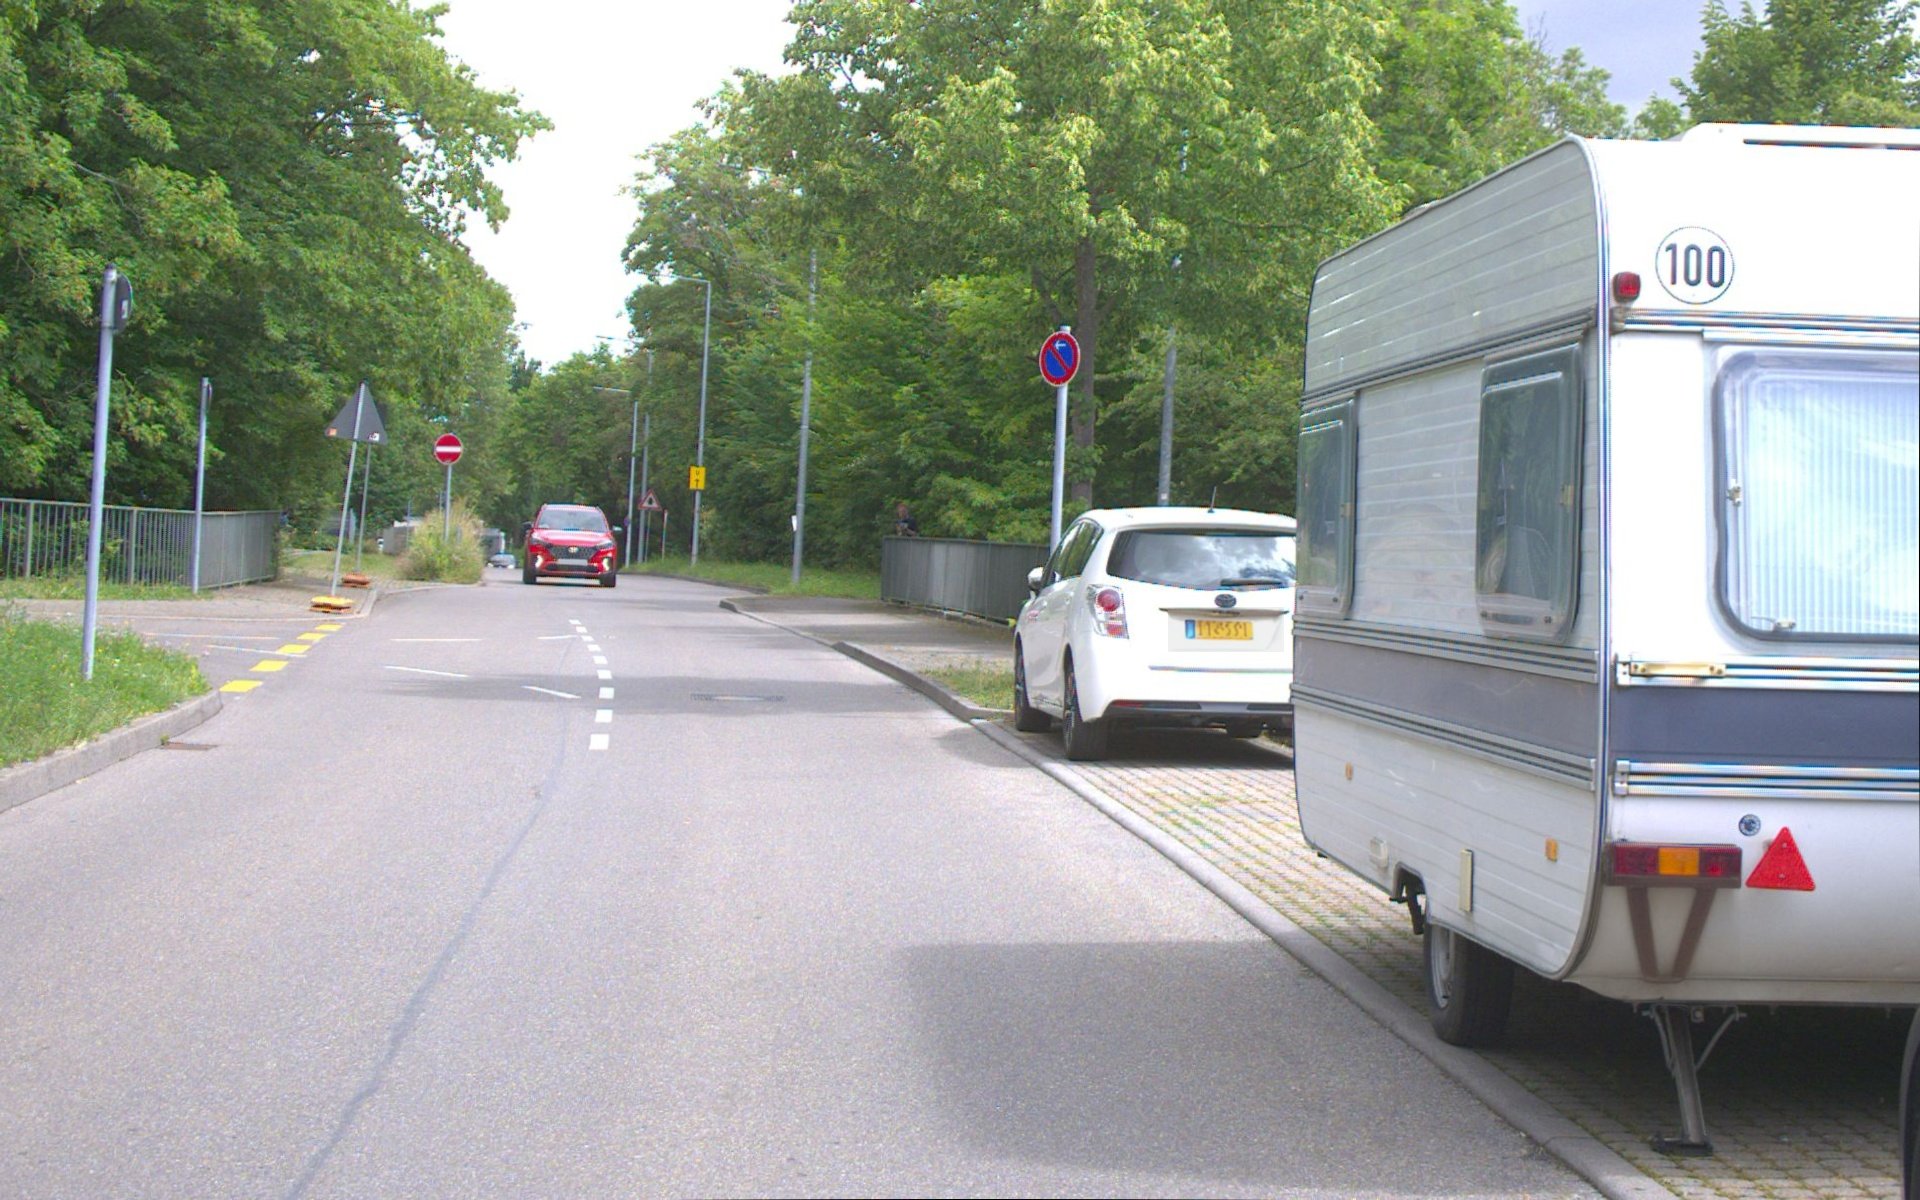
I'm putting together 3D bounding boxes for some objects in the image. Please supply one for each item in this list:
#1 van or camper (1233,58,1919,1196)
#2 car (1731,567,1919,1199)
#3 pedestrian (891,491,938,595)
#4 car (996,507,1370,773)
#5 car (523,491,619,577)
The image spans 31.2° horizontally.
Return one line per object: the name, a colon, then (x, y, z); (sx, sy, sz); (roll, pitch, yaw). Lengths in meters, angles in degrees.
van or camper: (2.378, 0.037, 10.307); (2.354, 2.545, 5.075); (1, 1, -4)
car: (2.551, 0.728, 4.699); (1.681, 1.446, 4.481); (2, 1, -4)
pedestrian: (-0.792, -0.994, 60.128); (0.587, 1.777, 0.682); (3, -1, -16)
car: (1.393, 0.191, 23.232); (1.804, 1.594, 4.373); (1, 2, -5)
car: (-8.027, -1.394, 70.961); (1.843, 1.653, 4.223); (2, 2, -7)
